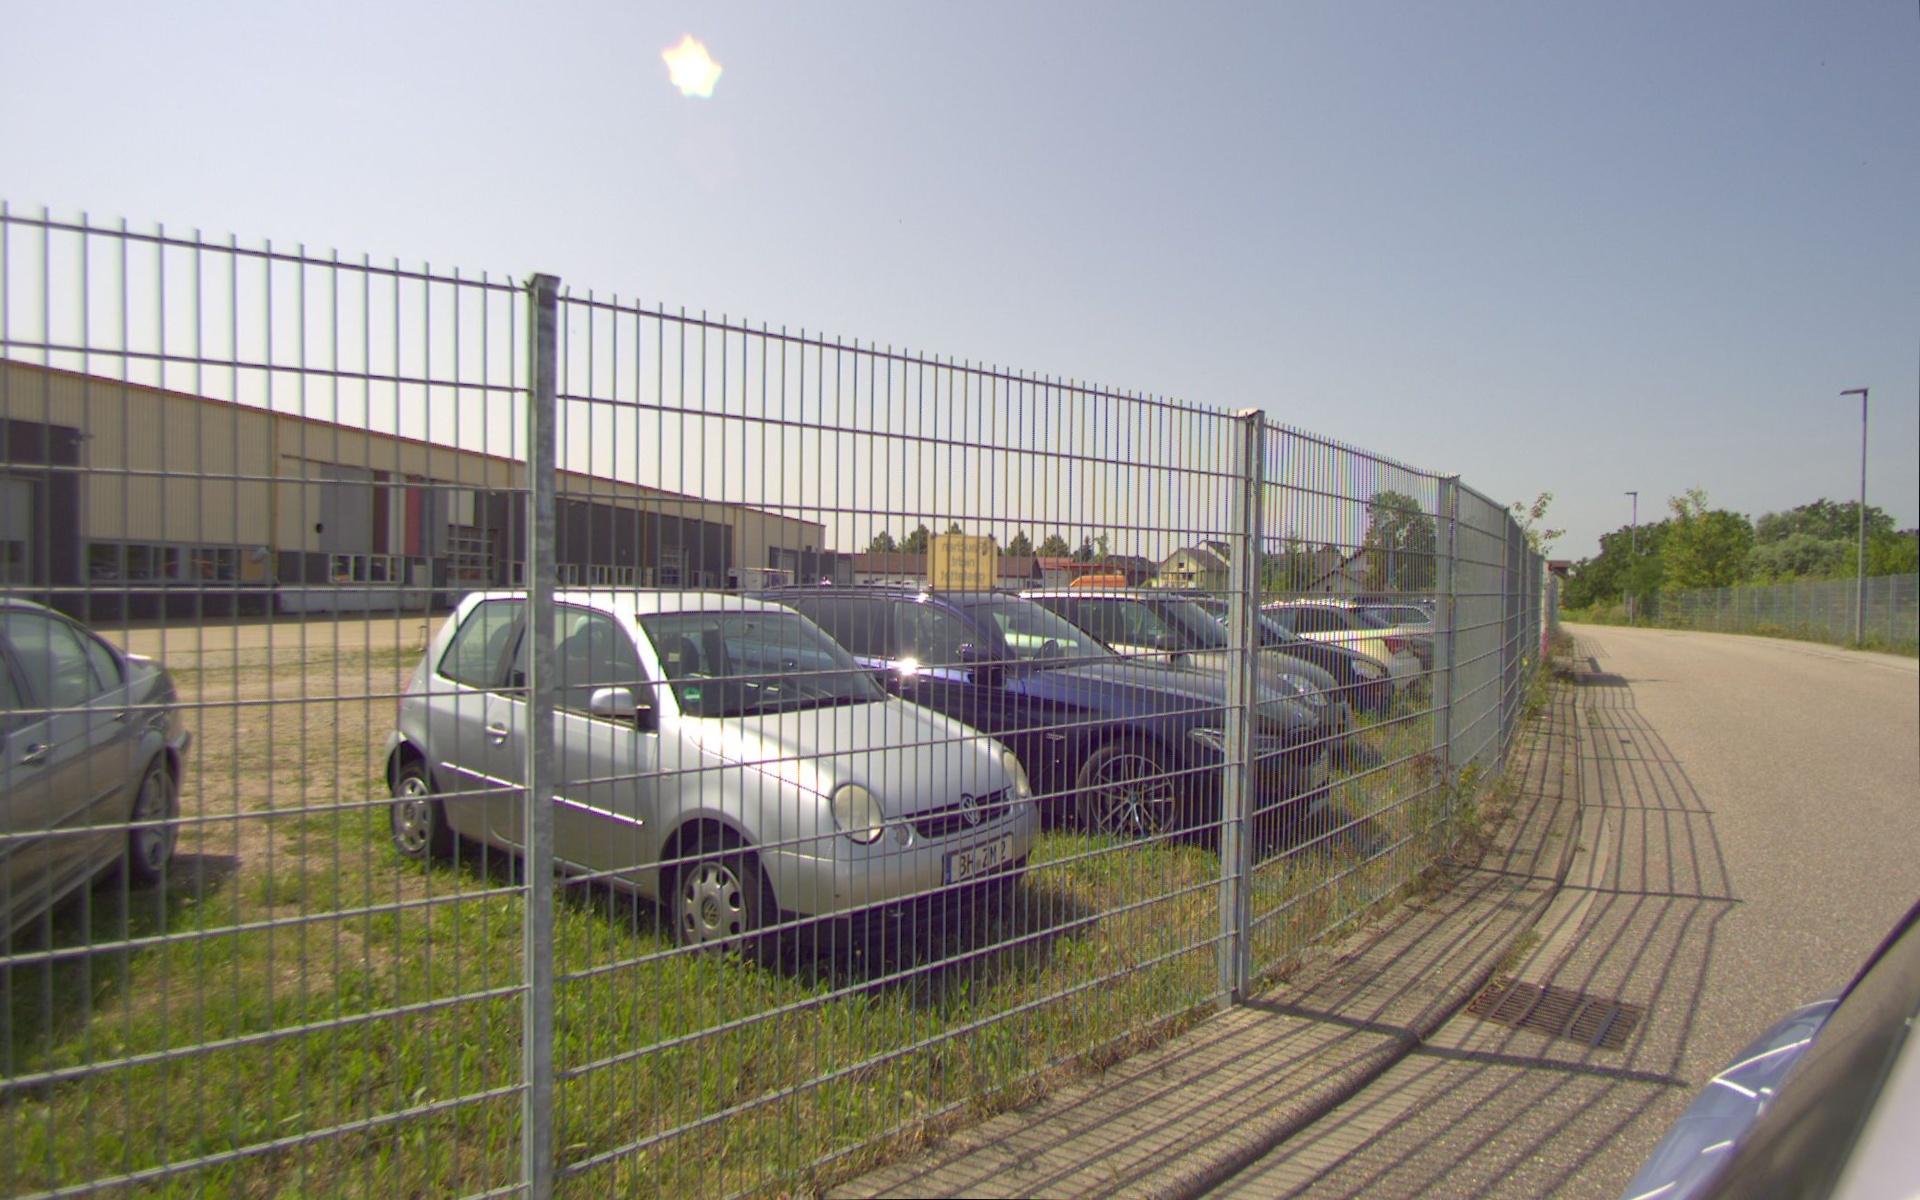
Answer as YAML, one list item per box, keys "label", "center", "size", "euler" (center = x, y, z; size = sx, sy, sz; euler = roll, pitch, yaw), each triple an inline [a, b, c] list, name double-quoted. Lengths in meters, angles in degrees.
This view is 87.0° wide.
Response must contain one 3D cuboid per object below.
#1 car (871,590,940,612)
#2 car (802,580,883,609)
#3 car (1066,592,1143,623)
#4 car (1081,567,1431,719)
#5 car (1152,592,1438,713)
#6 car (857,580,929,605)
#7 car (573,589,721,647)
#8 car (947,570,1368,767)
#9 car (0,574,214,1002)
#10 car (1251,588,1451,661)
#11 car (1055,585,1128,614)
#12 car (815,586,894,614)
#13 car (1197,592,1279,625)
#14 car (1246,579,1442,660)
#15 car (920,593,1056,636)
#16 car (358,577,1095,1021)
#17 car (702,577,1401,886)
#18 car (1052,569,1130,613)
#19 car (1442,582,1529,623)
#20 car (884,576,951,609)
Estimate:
- label: "car"
  center: [-3.702, 0.072, 68.850]
  size: [4.330, 1.395, 1.832]
  euler: [2, 0, 17]
- label: "car"
  center: [-6.766, -0.307, 58.417]
  size: [4.326, 1.504, 1.745]
  euler: [2, 0, 14]
- label: "car"
  center: [7.593, 0.368, 53.011]
  size: [3.777, 1.480, 1.580]
  euler: [2, 0, 17]
- label: "car"
  center: [3.411, 0.376, 11.767]
  size: [3.629, 1.495, 1.734]
  euler: [1, 3, 30]
- label: "car"
  center: [4.594, 0.628, 13.969]
  size: [3.506, 1.406, 1.619]
  euler: [1, 1, 30]
- label: "car"
  center: [-4.369, -0.494, 66.424]
  size: [4.326, 1.504, 1.965]
  euler: [2, 0, 14]
- label: "car"
  center: [-8.509, 0.454, 27.567]
  size: [3.613, 1.454, 1.529]
  euler: [1, 1, 14]
- label: "car"
  center: [1.814, 0.494, 9.447]
  size: [3.520, 1.521, 1.693]
  euler: [1, 1, 30]
- label: "car"
  center: [-3.971, 0.615, 3.221]
  size: [1.583, 1.412, 4.367]
  euler: [0, 1, -23]
- label: "car"
  center: [8.056, 0.450, 20.900]
  size: [3.645, 1.371, 1.721]
  euler: [1, 1, 31]
- label: "car"
  center: [7.317, -0.043, 56.181]
  size: [3.777, 1.480, 1.580]
  euler: [2, 0, 17]
- label: "car"
  center: [-6.294, -0.027, 60.393]
  size: [4.326, 1.504, 1.745]
  euler: [2, 0, 14]
- label: "car"
  center: [13.548, 0.393, 49.370]
  size: [3.722, 1.455, 1.603]
  euler: [2, 0, 17]
- label: "car"
  center: [7.109, 0.310, 18.781]
  size: [3.249, 1.371, 1.513]
  euler: [1, 1, 29]
- label: "car"
  center: [0.983, 0.466, 35.171]
  size: [4.463, 1.368, 1.617]
  euler: [1, 1, 18]
- label: "car"
  center: [-1.251, 0.624, 4.960]
  size: [3.451, 1.440, 1.617]
  euler: [1, 1, 34]
- label: "car"
  center: [0.454, 0.611, 6.981]
  size: [4.520, 1.493, 1.803]
  euler: [1, 1, 34]
- label: "car"
  center: [8.363, -0.569, 64.499]
  size: [4.681, 2.617, 1.970]
  euler: [2, 0, 17]
- label: "car"
  center: [27.738, 0.102, 53.544]
  size: [3.961, 2.039, 1.982]
  euler: [1, 1, 27]
- label: "car"
  center: [-3.010, -0.523, 71.735]
  size: [4.326, 2.199, 1.965]
  euler: [2, 0, 14]
